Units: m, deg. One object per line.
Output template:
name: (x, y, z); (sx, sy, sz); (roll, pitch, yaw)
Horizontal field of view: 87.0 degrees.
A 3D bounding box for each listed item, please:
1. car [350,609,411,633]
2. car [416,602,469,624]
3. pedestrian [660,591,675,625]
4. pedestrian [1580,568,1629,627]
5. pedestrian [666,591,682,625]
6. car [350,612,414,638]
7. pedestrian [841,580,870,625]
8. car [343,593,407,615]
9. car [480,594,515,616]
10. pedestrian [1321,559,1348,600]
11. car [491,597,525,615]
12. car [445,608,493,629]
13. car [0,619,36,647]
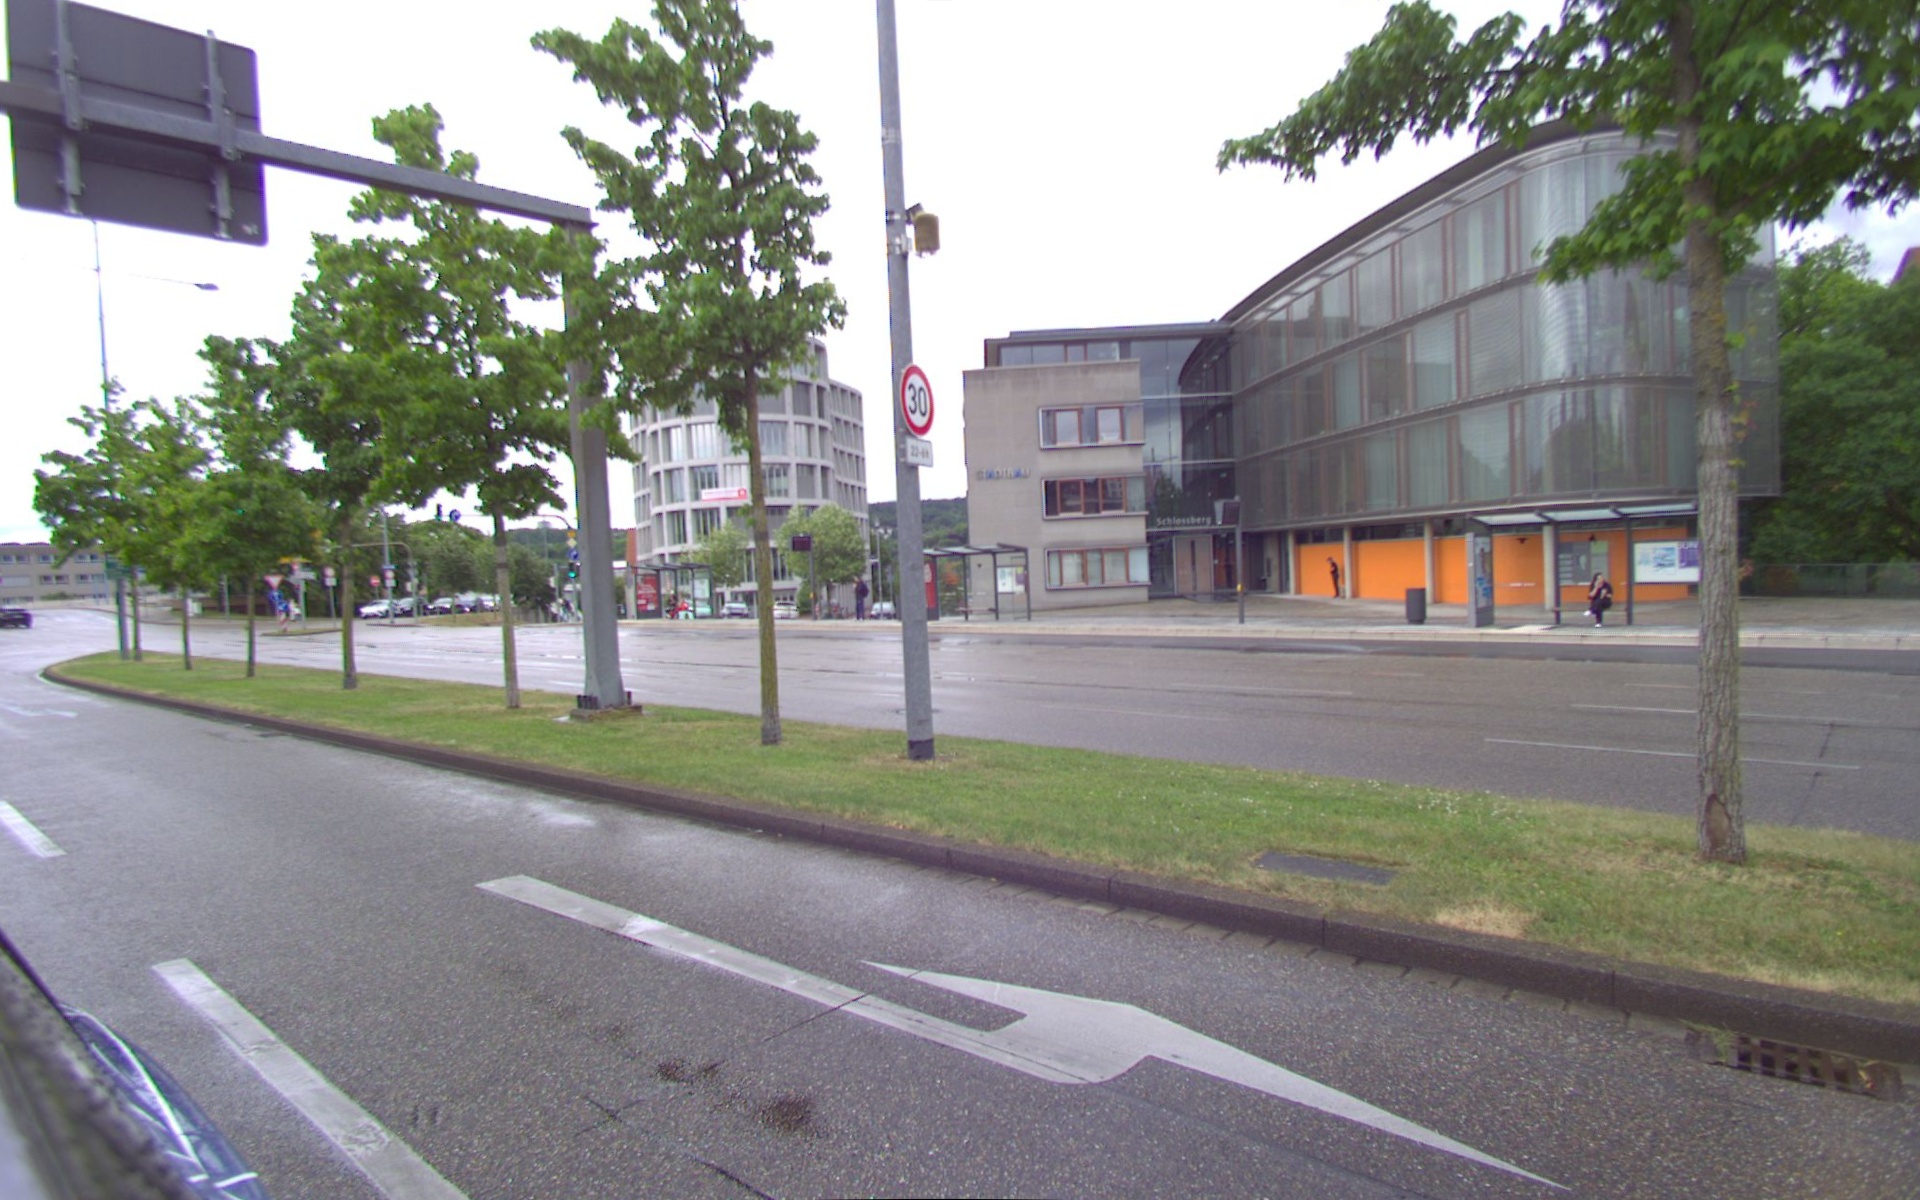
car: (-46.341, 1.643, 81.068); (2.164, 1.725, 4.919); (-2, 0, -2)
car: (-44.102, 1.110, 86.326); (2.164, 1.725, 4.919); (-2, 0, -3)
pedestrian: (-14.501, 0.408, 50.144); (0.501, 1.647, 0.497); (-1, 0, 41)
pedestrian: (14.842, -0.054, 23.299); (0.790, 1.334, 0.793); (-2, 0, 42)
pedestrian: (-14.330, 0.402, 50.713); (0.535, 1.647, 0.514); (-1, 0, 41)
car: (-43.622, 1.872, 76.519); (2.164, 1.725, 4.919); (-2, 0, -3)
pedestrian: (-4.210, 0.096, 40.800); (0.964, 1.773, 0.783); (-2, 0, 12)
car: (-57.995, 0.394, 100.445); (4.963, 2.029, 2.311); (-2, 0, 0)
car: (-45.533, 0.492, 99.660); (1.969, 2.029, 4.005); (-1, -1, -6)
pedestrian: (15.456, -0.854, 41.809); (0.697, 1.666, 0.852); (-1, 0, -6)
car: (-47.488, 0.651, 106.283); (2.161, 1.725, 4.926); (-2, 0, -38)
car: (-44.905, 1.640, 92.728); (2.164, 1.725, 4.920); (-2, 0, -3)
car: (-64.469, 2.202, 68.796); (3.998, 1.789, 1.973); (-1, 0, 41)
